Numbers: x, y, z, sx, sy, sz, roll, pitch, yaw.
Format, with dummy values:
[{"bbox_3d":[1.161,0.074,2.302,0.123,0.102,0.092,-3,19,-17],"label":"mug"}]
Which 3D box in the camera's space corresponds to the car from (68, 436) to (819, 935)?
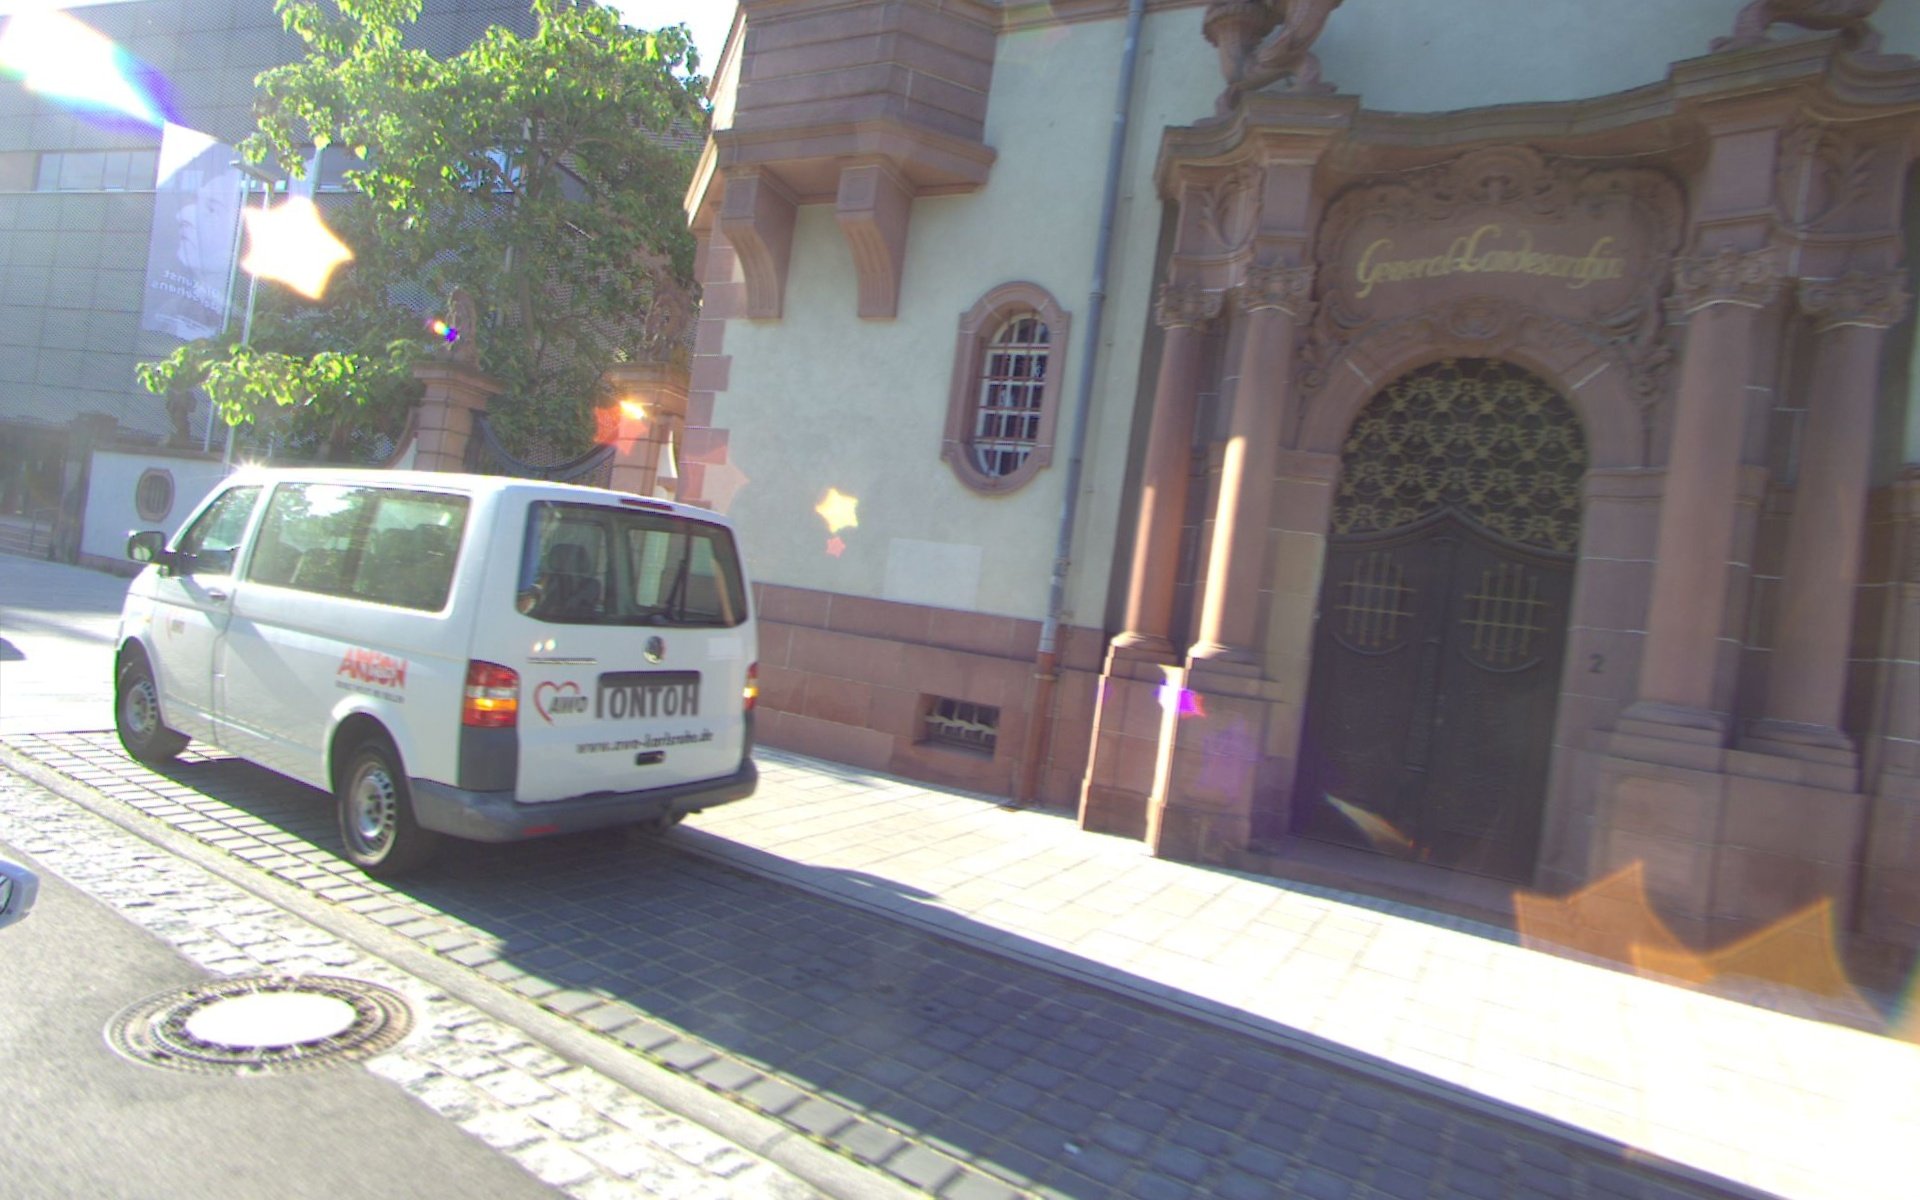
[{"bbox_3d":[-3.439,0.197,6.327,4.770,1.992,1.994,8,3,33],"label":"car"}]
